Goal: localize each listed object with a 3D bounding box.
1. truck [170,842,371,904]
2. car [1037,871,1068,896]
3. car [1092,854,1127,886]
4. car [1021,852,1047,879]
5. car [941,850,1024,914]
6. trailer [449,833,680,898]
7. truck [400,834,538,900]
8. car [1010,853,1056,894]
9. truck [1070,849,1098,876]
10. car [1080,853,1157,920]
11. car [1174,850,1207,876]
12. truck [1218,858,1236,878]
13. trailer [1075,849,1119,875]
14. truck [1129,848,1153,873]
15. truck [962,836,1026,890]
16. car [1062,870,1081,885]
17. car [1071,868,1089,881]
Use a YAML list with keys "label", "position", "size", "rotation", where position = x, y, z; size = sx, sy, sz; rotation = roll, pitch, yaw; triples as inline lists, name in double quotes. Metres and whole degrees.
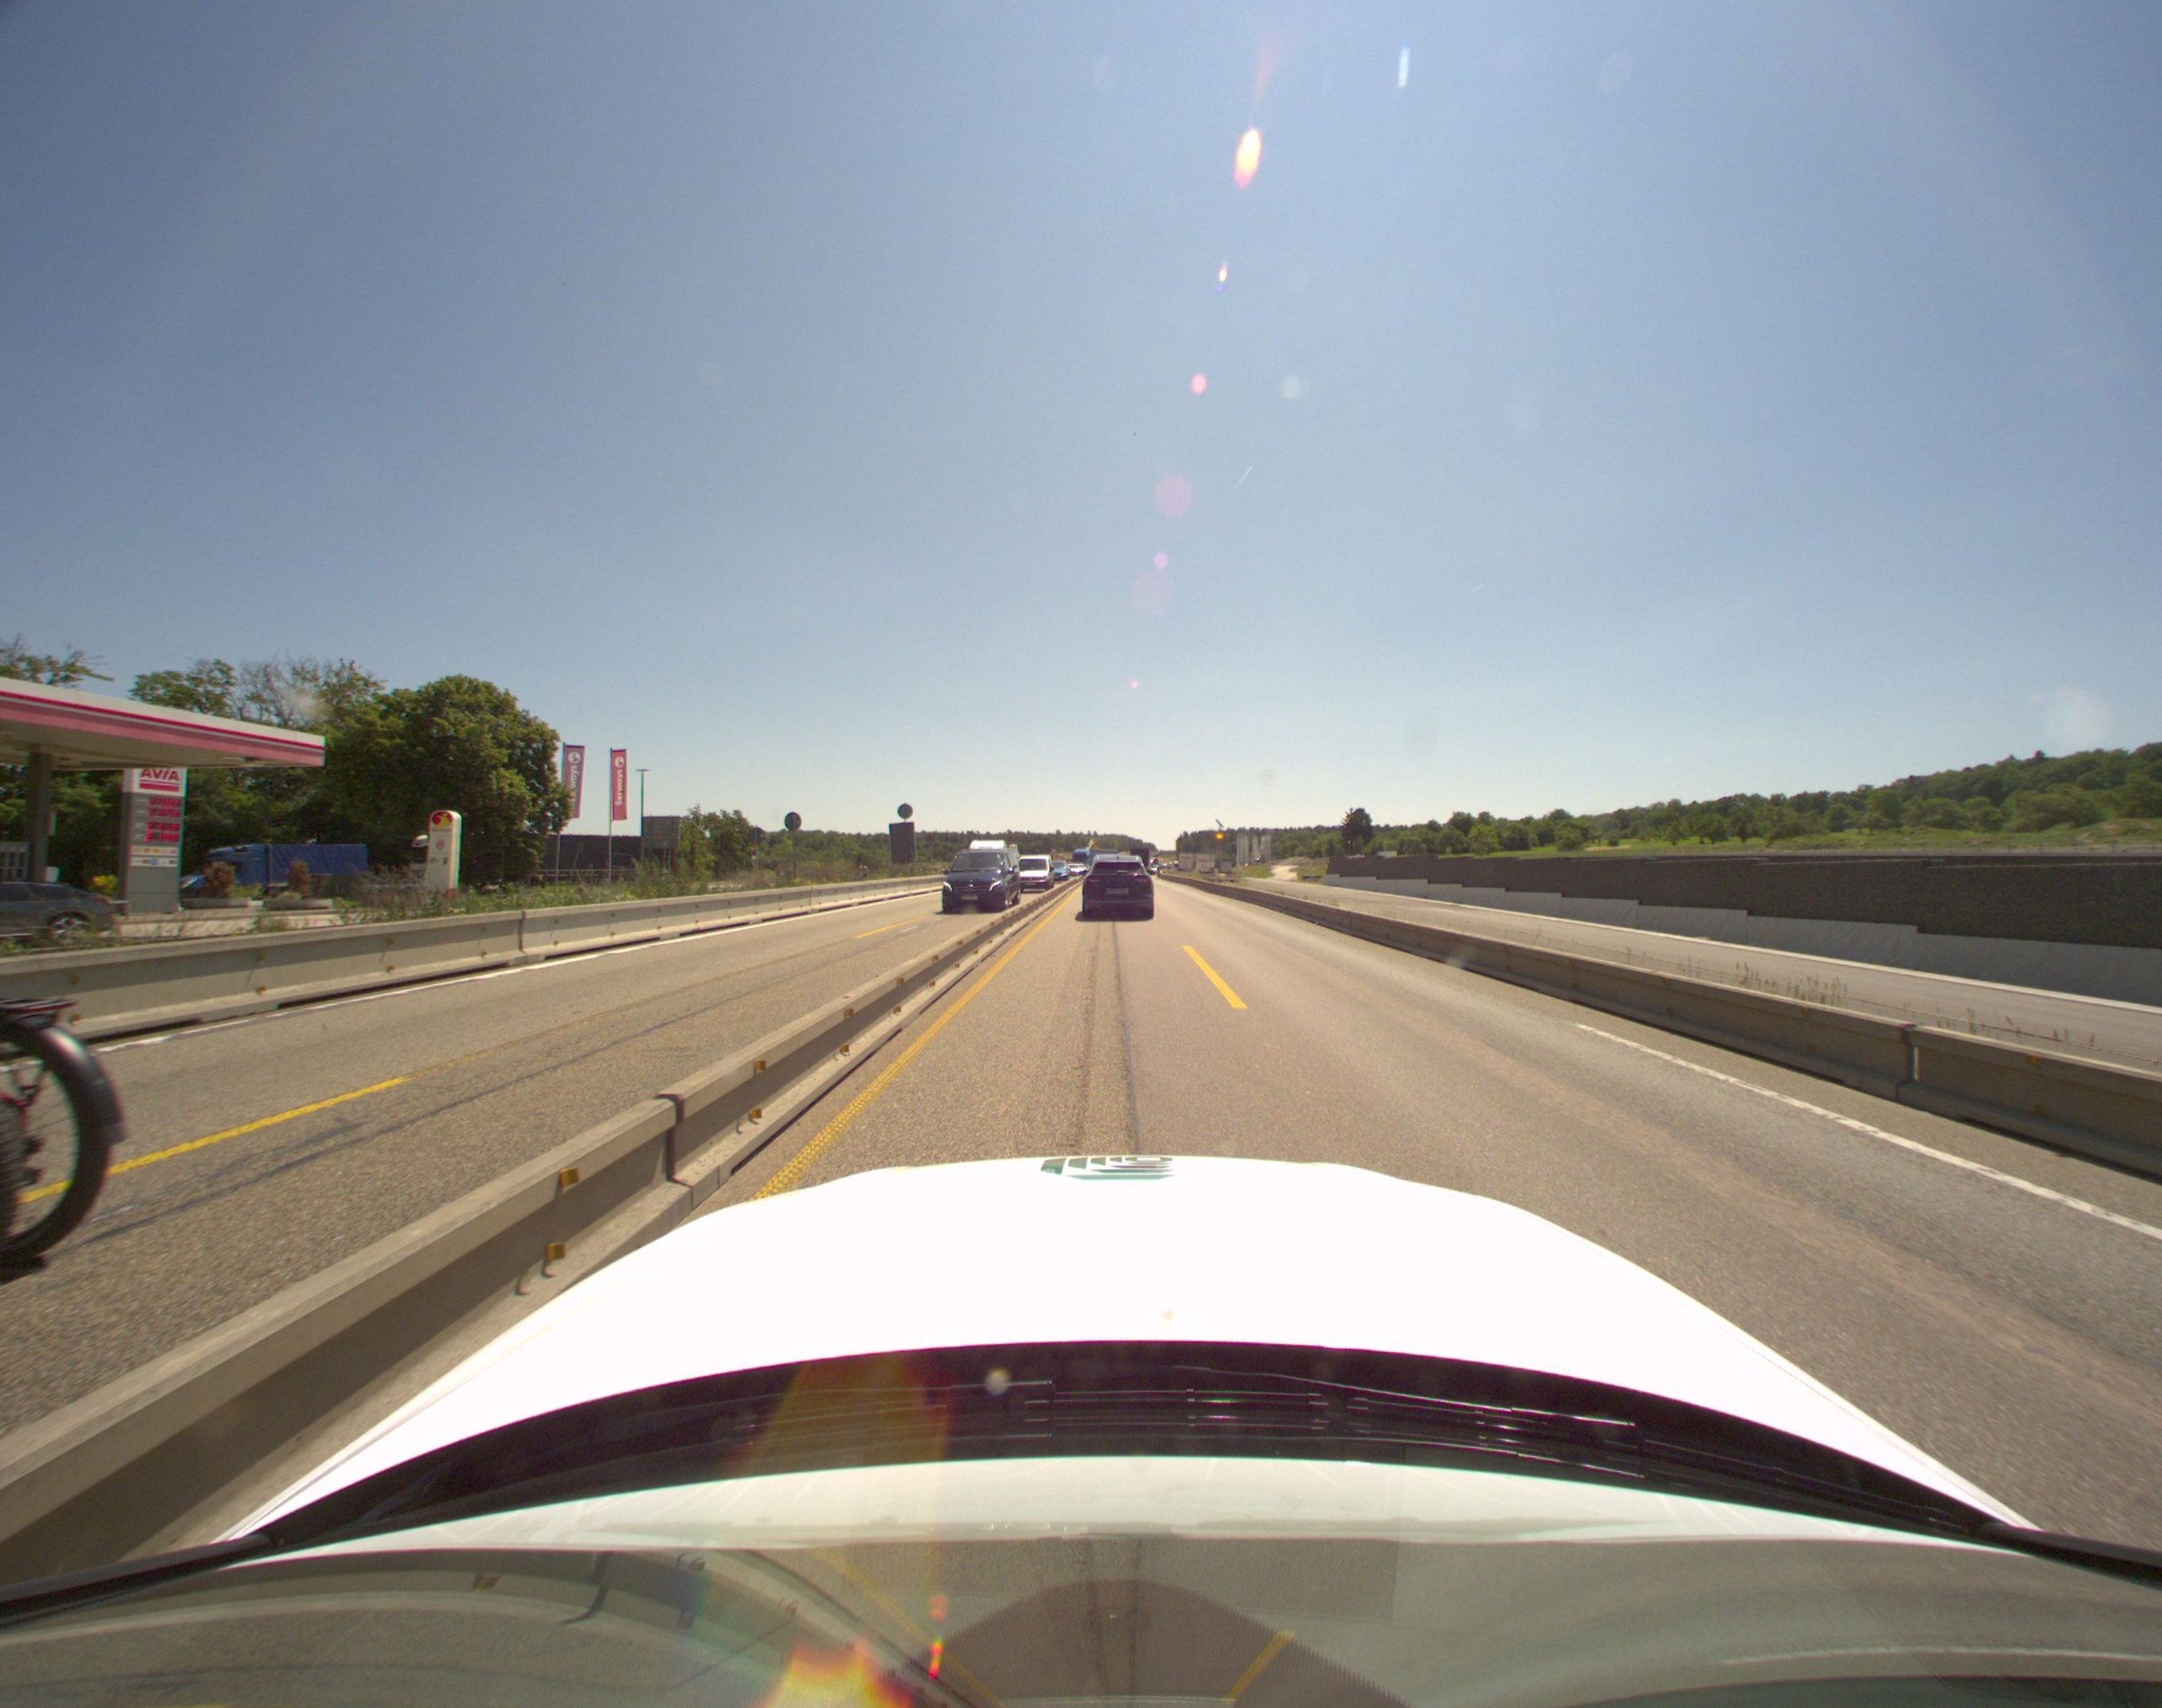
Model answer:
- label: "truck"
  position: [-43.749, 1.000, 44.296]
  size: [2.794, 3.064, 7.161]
  rotation: [-1, -1, 24]
- label: "car"
  position: [-1.941, 2.028, 56.653]
  size: [1.897, 1.608, 4.002]
  rotation: [0, 0, 2]
- label: "car"
  position: [1.652, 0.953, 48.941]
  size: [1.987, 1.844, 4.000]
  rotation: [1, -1, 1]
- label: "car"
  position: [-4.630, 1.155, 81.558]
  size: [1.907, 2.399, 6.454]
  rotation: [-5, -1, 1]
- label: "car"
  position: [-3.003, 0.791, 25.891]
  size: [1.900, 1.804, 5.083]
  rotation: [-1, 0, 1]
- label: "trailer"
  position: [-36.250, 0.789, 58.425]
  size: [3.120, 4.111, 14.250]
  rotation: [-1, -1, 29]
- label: "truck"
  position: [-39.384, 0.847, 52.630]
  size: [3.120, 3.985, 6.385]
  rotation: [-1, -1, 29]
- label: "car"
  position: [-2.311, 0.913, 40.361]
  size: [1.846, 1.839, 4.592]
  rotation: [-1, 0, 1]
- label: "truck"
  position: [0.531, 1.326, 128.705]
  size: [2.892, 4.129, 6.164]
  rotation: [-1, -1, 16]
- label: "car"
  position: [1.002, 0.804, 21.875]
  size: [1.835, 1.582, 4.002]
  rotation: [-2, 0, 3]
- label: "car"
  position: [18.572, 1.589, 137.792]
  size: [3.408, 4.101, 9.241]
  rotation: [4, -1, 20]
- label: "truck"
  position: [35.085, 3.417, 195.569]
  size: [3.452, 4.220, 10.411]
  rotation: [5, 0, 13]
- label: "trailer"
  position: [2.786, 1.370, 135.110]
  size: [2.889, 4.129, 13.985]
  rotation: [-1, -1, 20]
- label: "truck"
  position: [7.238, 0.725, 98.131]
  size: [2.660, 2.945, 5.629]
  rotation: [0, 0, 6]
- label: "truck"
  position: [-4.930, 0.494, 47.633]
  size: [2.470, 2.824, 8.132]
  rotation: [-1, 0, 2]
- label: "car"
  position: [-1.001, 2.397, 85.278]
  size: [1.810, 1.376, 4.248]
  rotation: [-2, 0, 1]
- label: "car"
  position: [-0.101, 2.479, 99.978]
  size: [2.009, 1.444, 4.589]
  rotation: [-1, 0, 1]
